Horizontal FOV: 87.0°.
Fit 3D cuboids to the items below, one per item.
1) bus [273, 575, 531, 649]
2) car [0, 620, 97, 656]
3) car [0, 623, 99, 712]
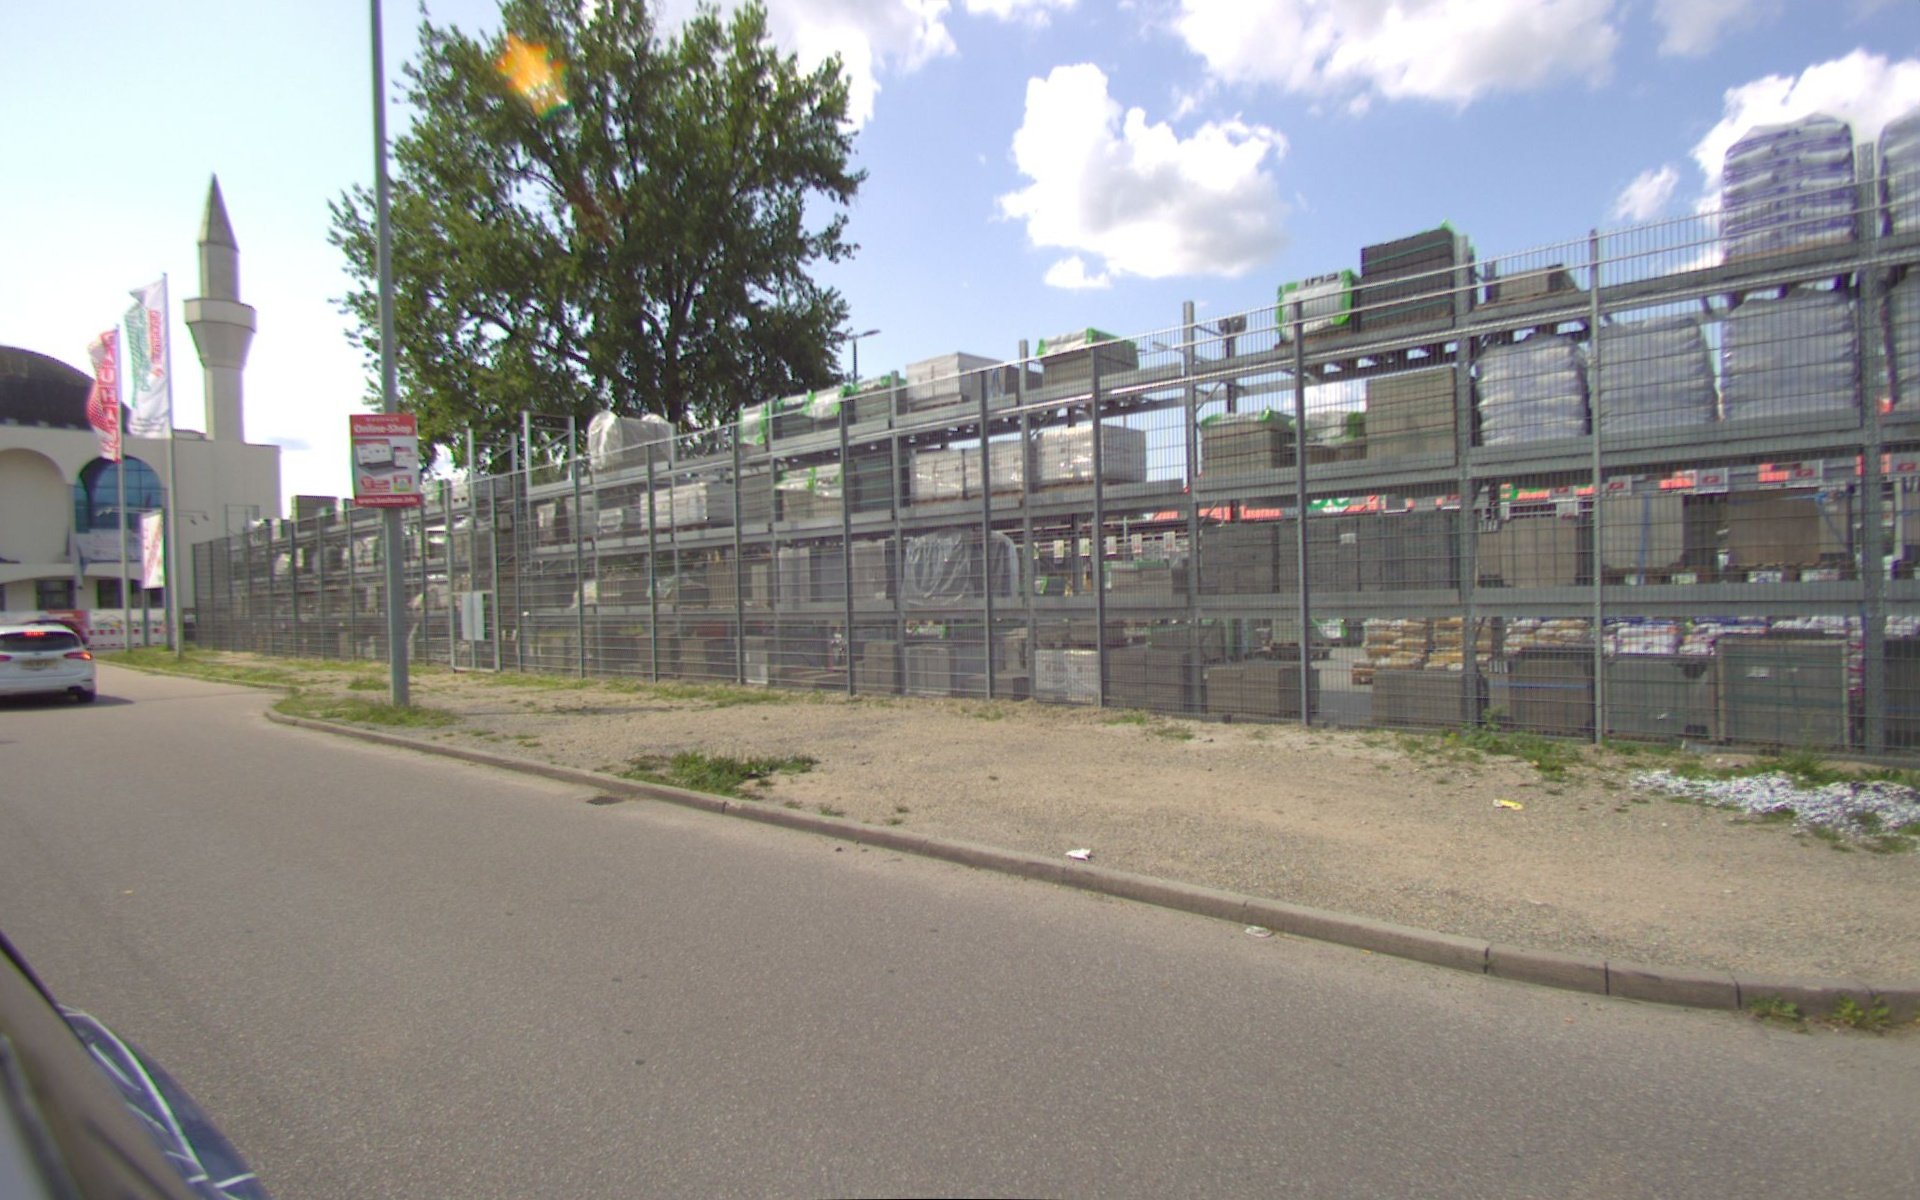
[{"bbox_3d":[-28.681,0.489,52.758,2.893,3.389,11.407,-2,0,42],"label":"bus"},{"bbox_3d":[-42.568,1.743,46.569,1.792,1.521,4.135,-2,0,42],"label":"car"},{"bbox_3d":[-17.789,1.220,19.011,4.326,1.475,1.785,-2,0,40],"label":"car"}]
